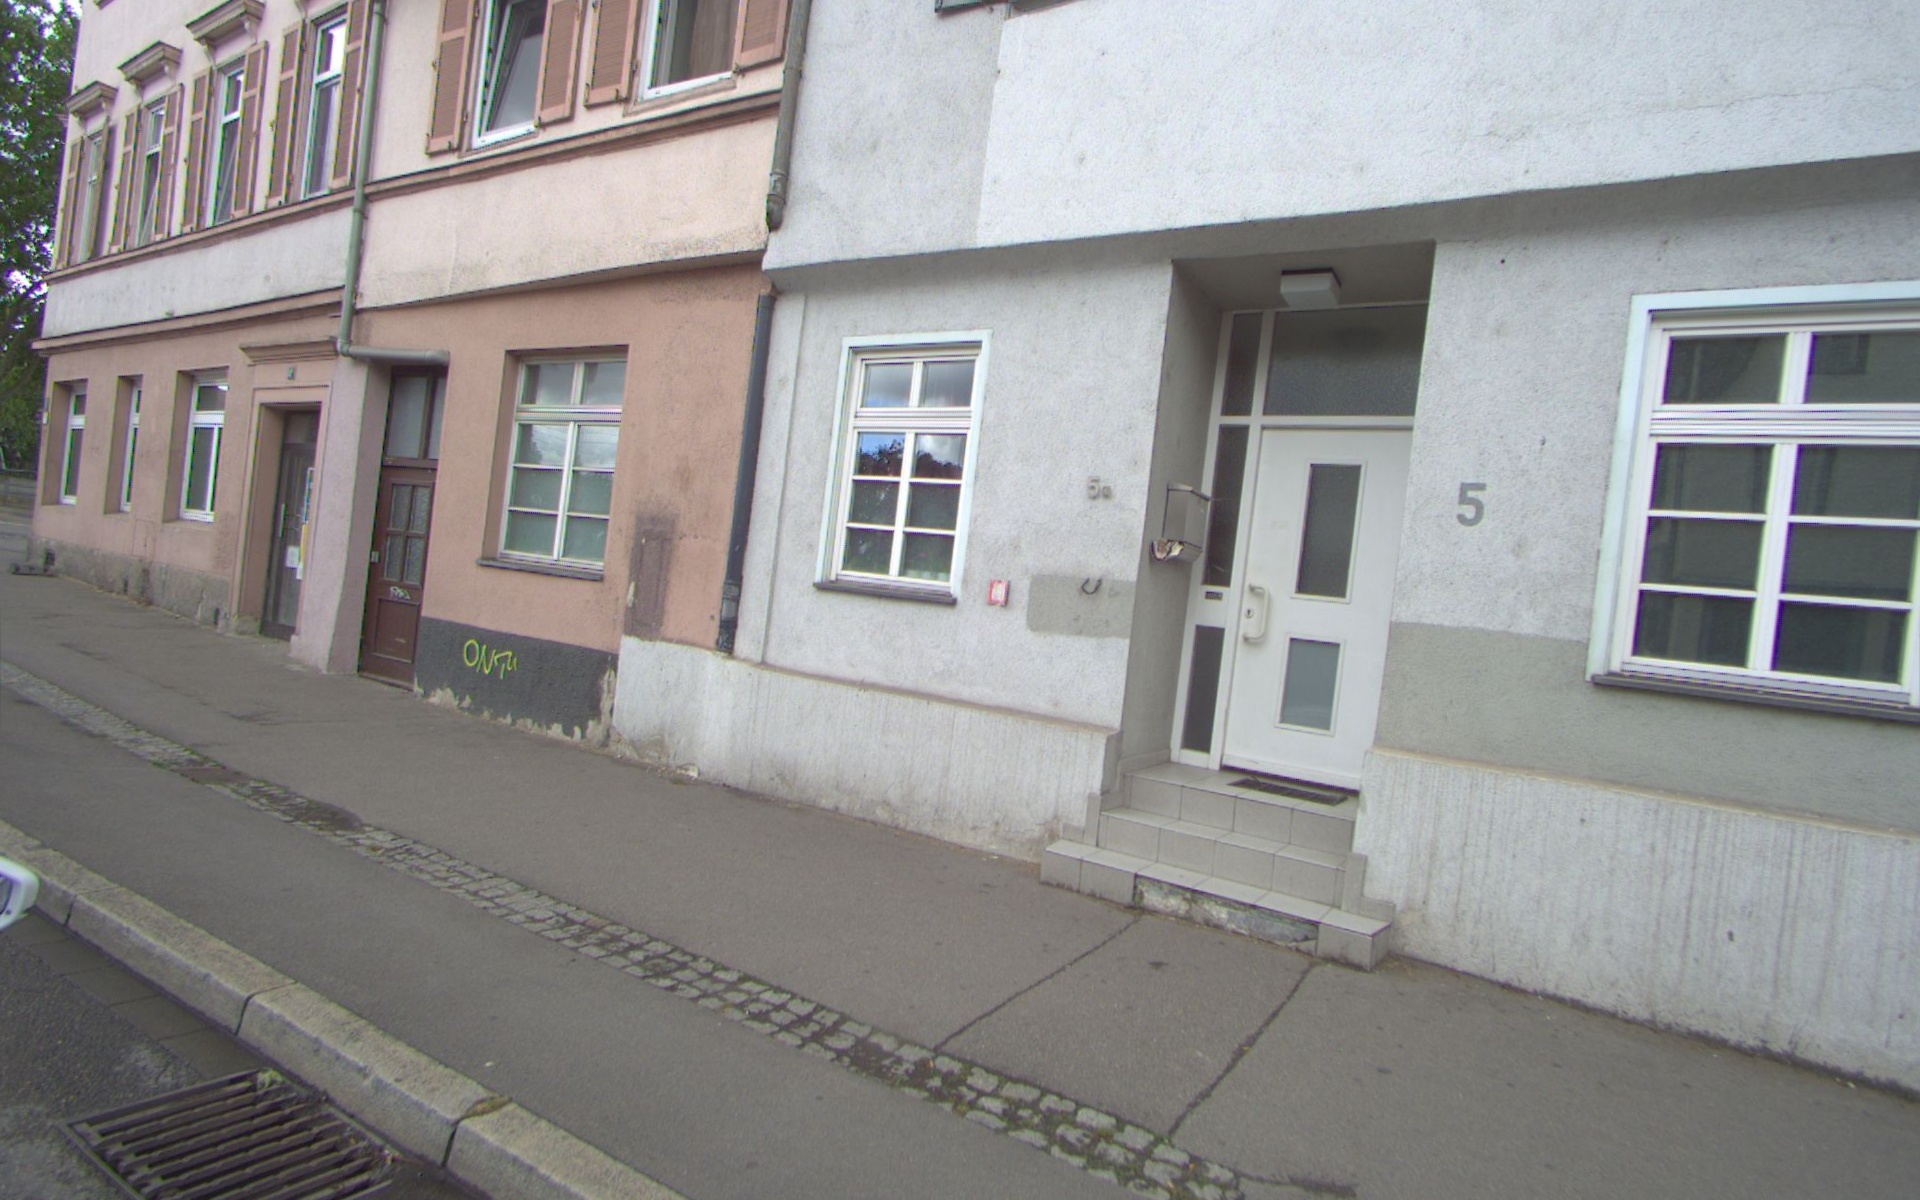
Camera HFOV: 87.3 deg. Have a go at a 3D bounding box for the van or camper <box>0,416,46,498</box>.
[{"bbox_3d":[-33.560,-5.015,32.575,2.000,2.545,5.405,6,0,24],"label":"van or camper"}]
